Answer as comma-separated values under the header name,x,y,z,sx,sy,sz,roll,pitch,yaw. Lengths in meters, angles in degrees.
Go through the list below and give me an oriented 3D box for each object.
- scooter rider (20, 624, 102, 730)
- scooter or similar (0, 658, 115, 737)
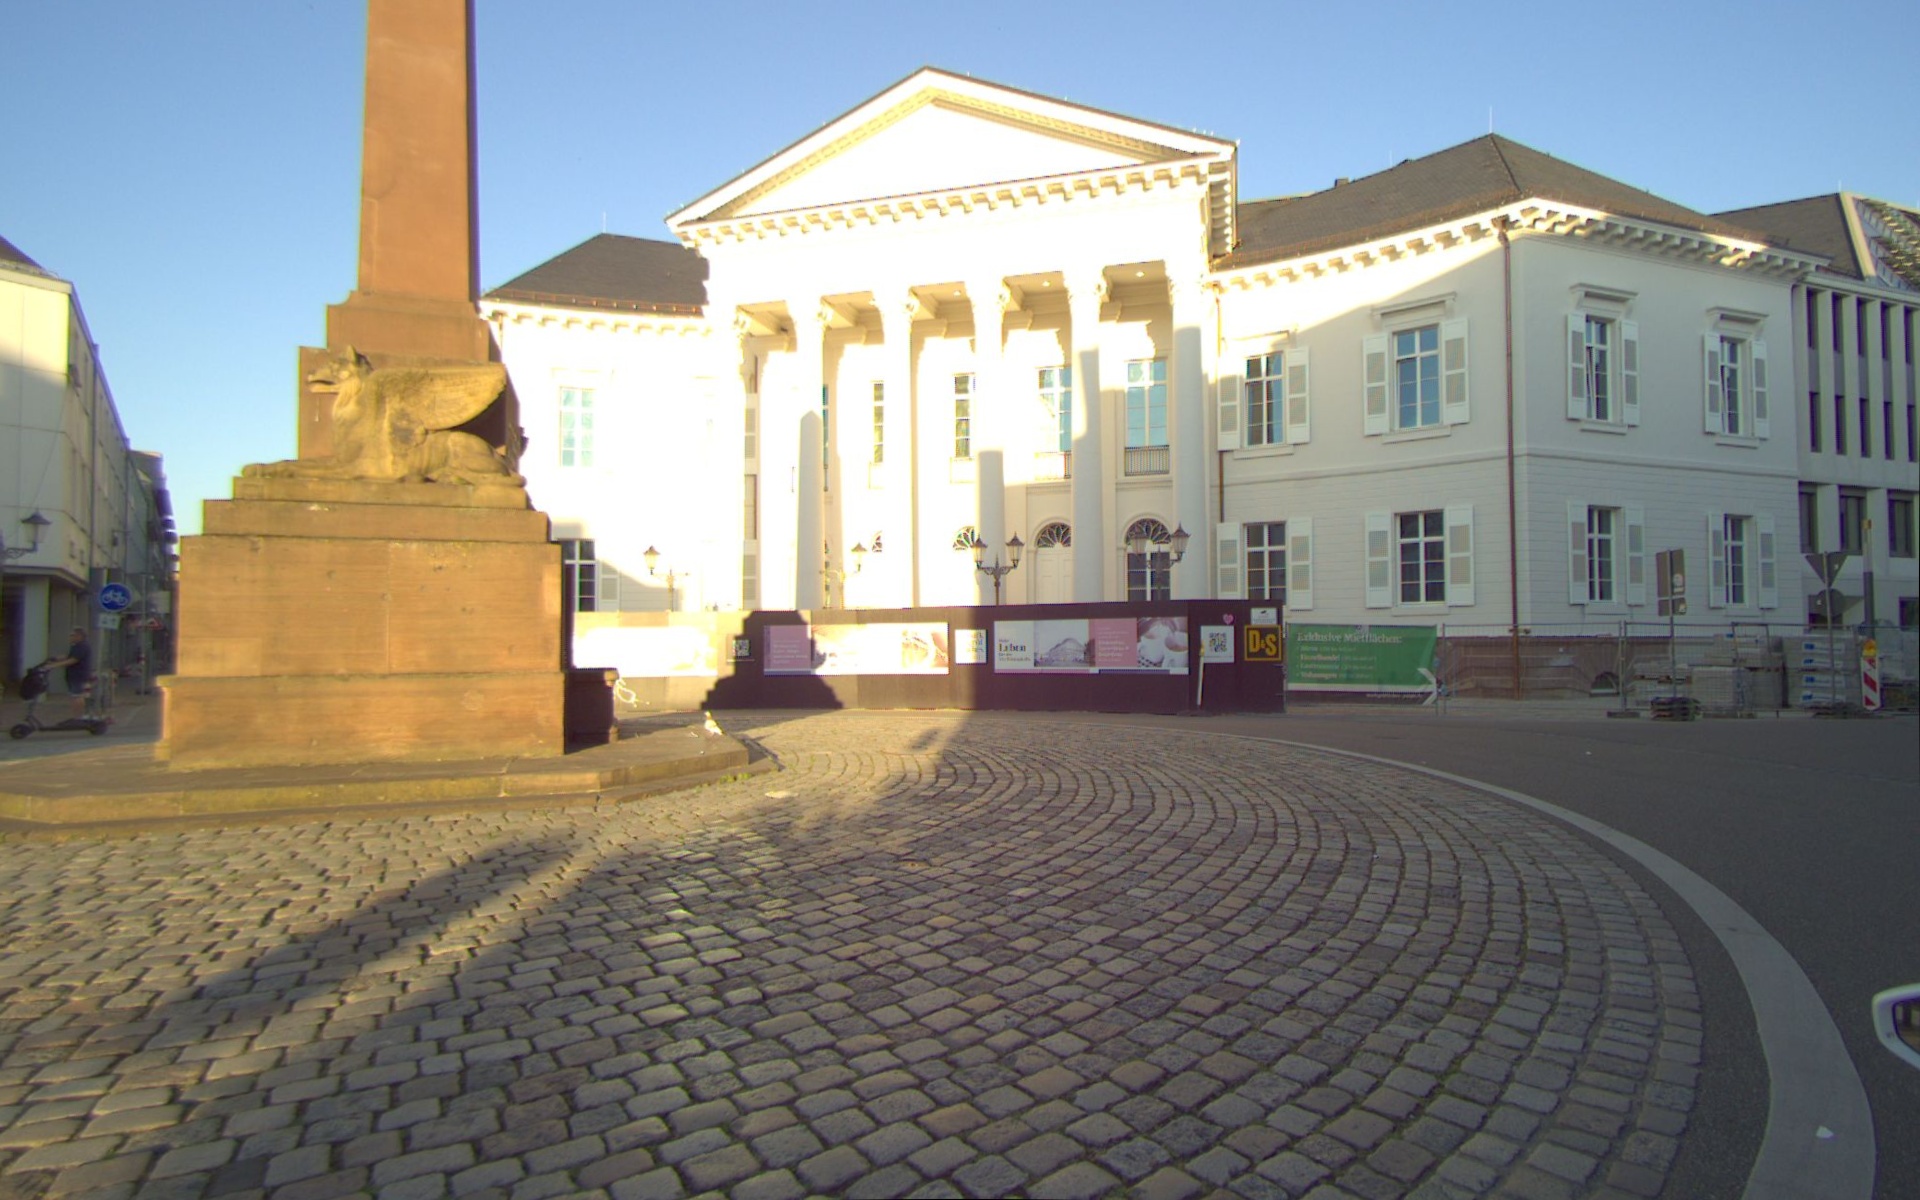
name,x,y,z,sx,sy,sz,roll,pitch,yaw
scooter rider,-15.579,1.318,17.435,0.898,1.786,0.680,1,-2,-31
scooter or similar,-15.596,1.670,17.405,1.343,1.288,0.682,1,-2,-31
